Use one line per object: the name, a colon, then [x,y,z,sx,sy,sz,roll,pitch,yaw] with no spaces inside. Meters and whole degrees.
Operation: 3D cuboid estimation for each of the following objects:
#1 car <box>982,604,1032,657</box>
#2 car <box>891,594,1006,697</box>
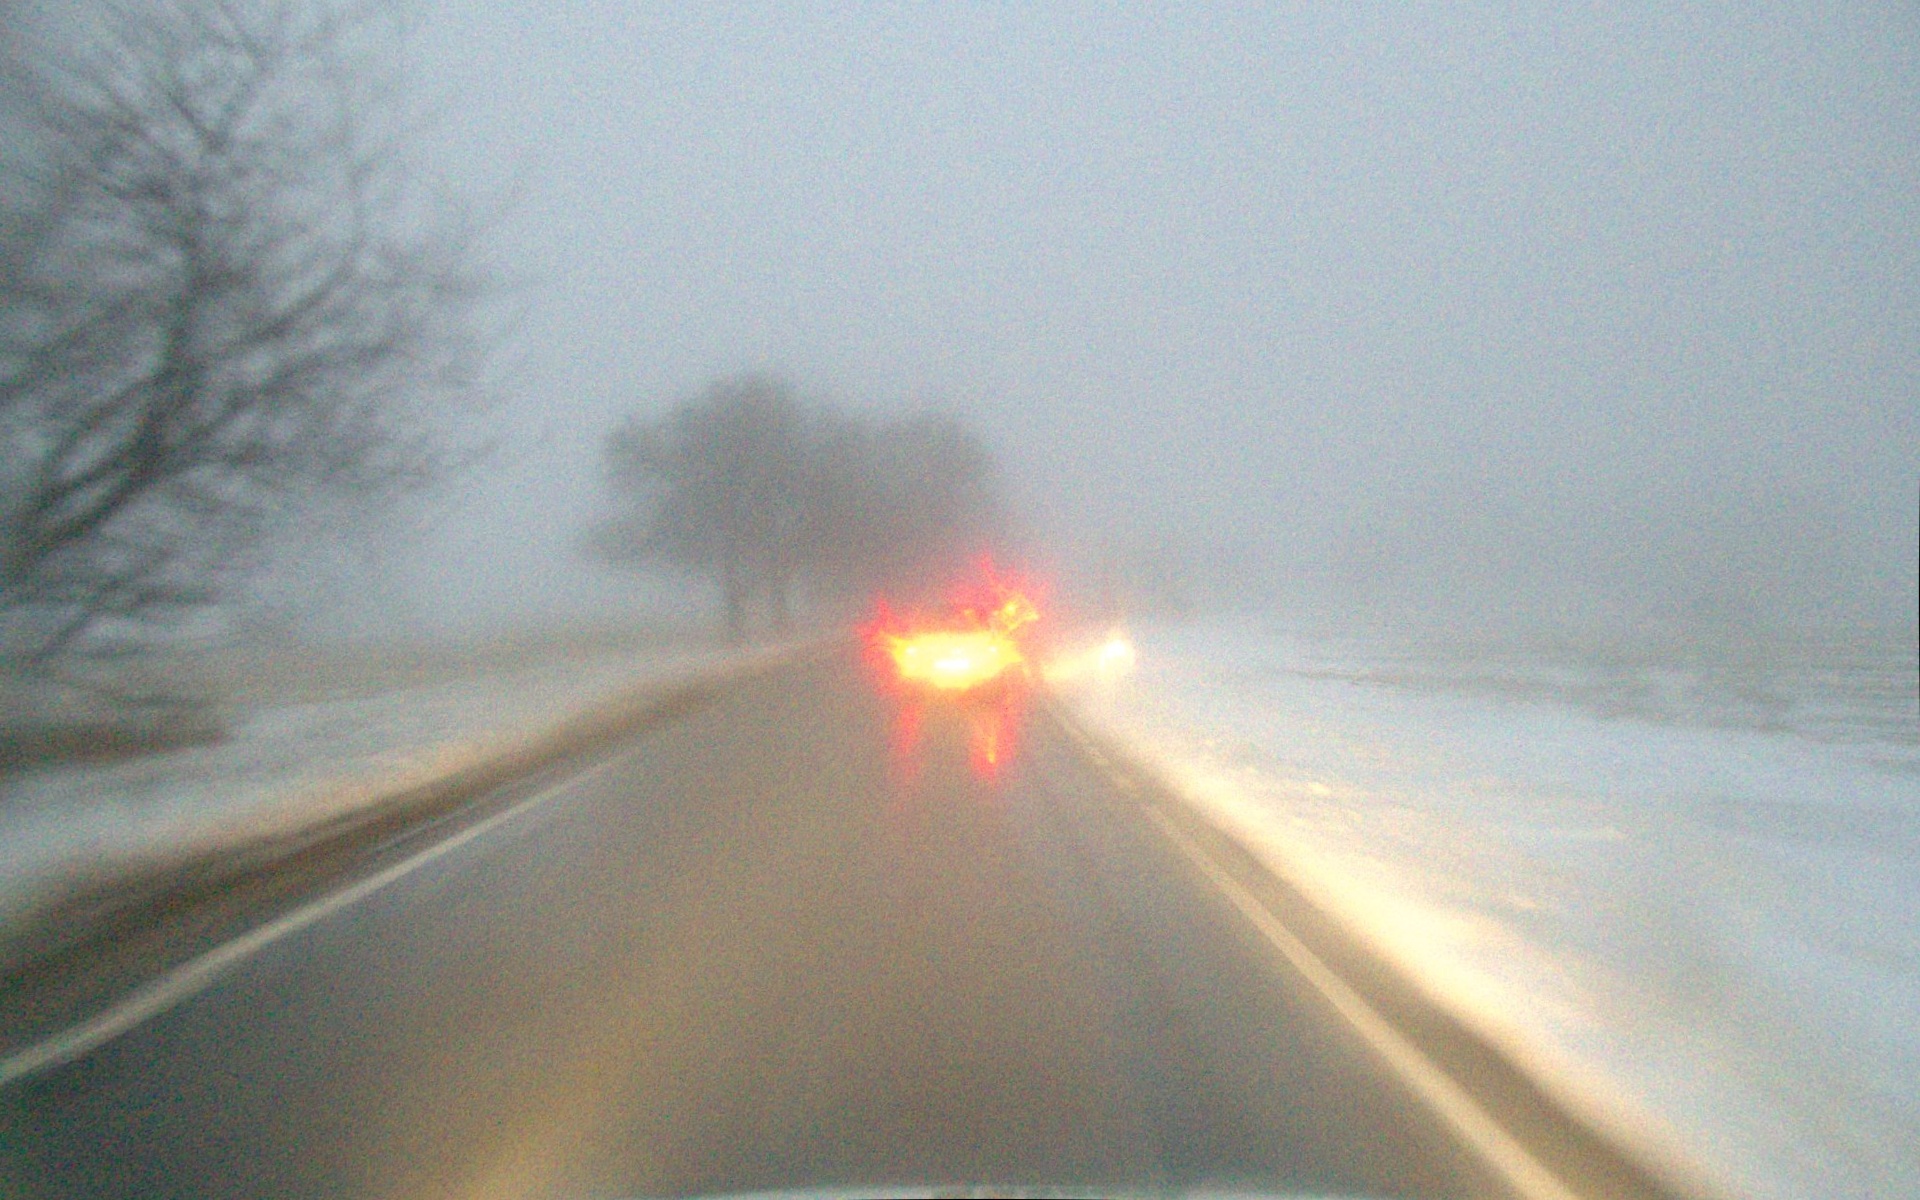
car: [1.397,0.909,49.989,1.448,1.534,3.053,-1,0,1]
car: [-0.121,0.669,26.528,1.671,1.489,4.001,1,0,1]
